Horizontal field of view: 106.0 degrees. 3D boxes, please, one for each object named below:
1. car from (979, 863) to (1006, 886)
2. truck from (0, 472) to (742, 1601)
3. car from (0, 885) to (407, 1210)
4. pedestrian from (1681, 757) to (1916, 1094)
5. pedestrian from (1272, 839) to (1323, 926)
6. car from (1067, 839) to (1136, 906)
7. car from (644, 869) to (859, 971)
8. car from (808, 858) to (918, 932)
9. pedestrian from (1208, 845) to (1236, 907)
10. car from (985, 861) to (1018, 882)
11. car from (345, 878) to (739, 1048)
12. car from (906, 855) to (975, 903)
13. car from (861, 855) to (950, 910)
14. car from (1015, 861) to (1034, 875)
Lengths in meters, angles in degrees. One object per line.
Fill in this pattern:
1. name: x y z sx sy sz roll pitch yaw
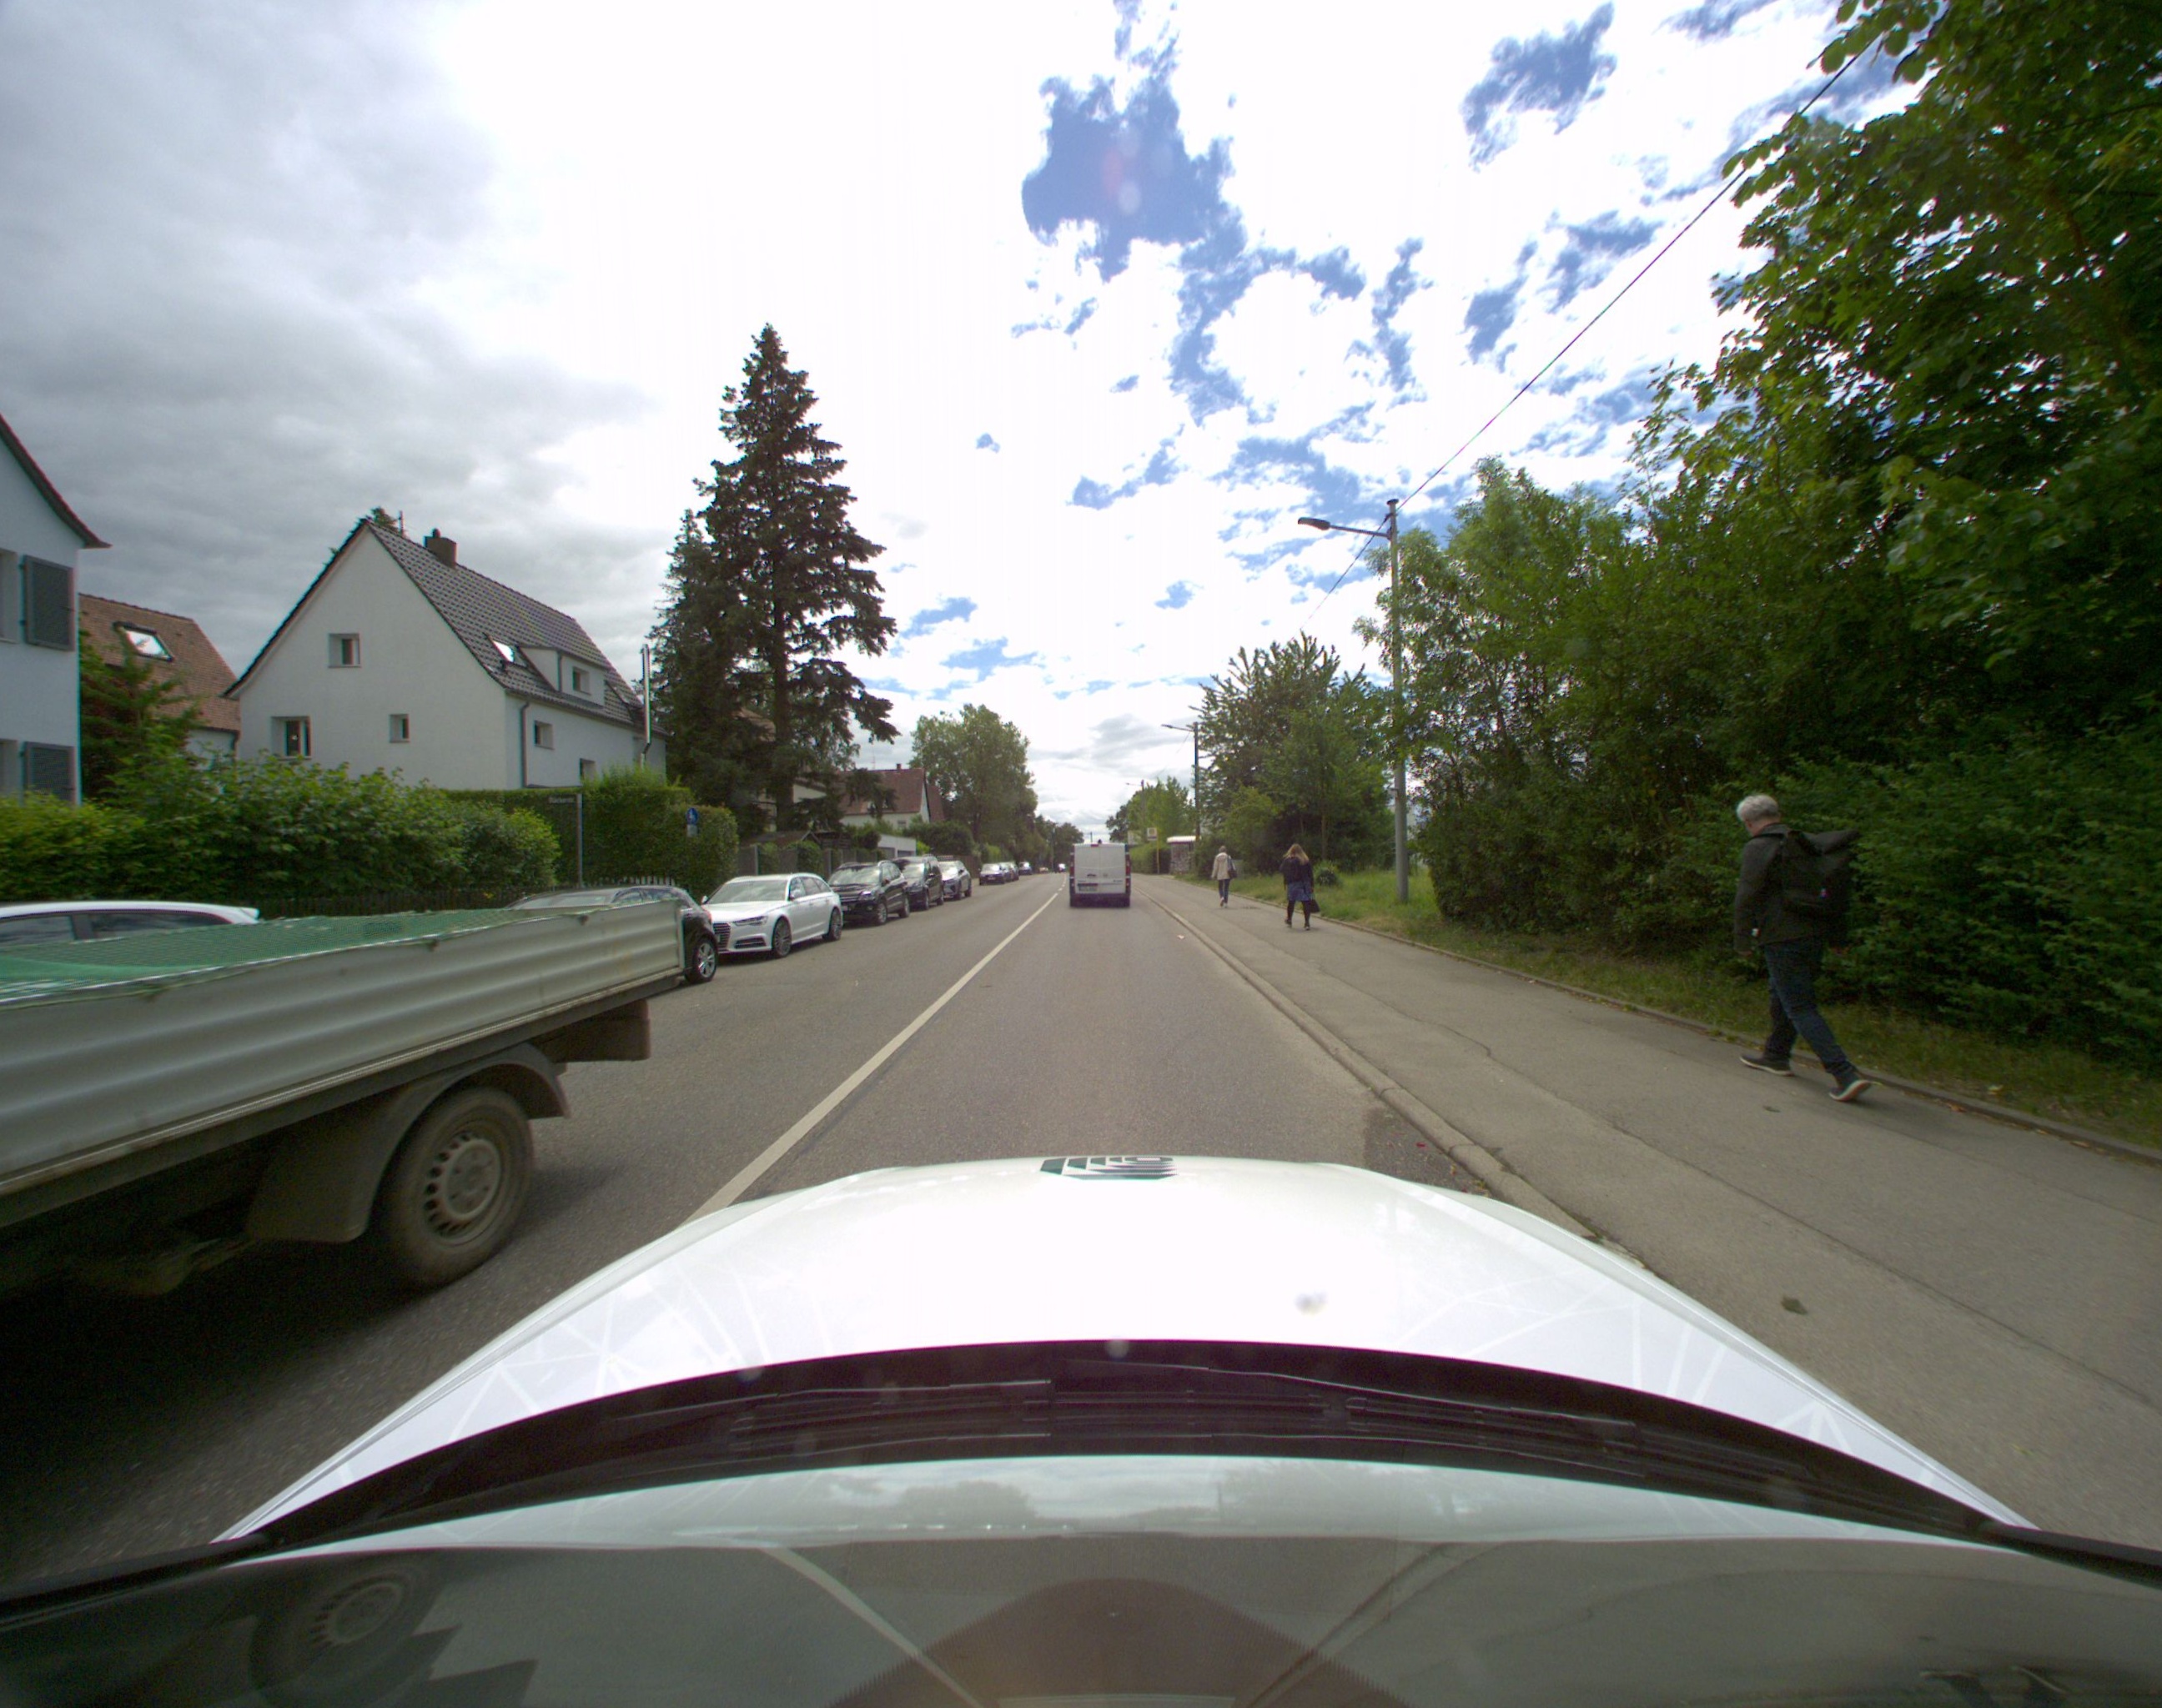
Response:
1. car: -5.966 1.358 55.339 1.648 1.427 3.899 -3 0 -4
2. truck: -3.382 0.414 1.592 2.180 2.371 6.908 -3 0 2
3. car: -6.311 1.071 4.590 1.695 1.543 3.745 -3 0 3
4. pedestrian: 4.337 0.402 4.996 0.741 1.883 0.803 0 -1 7
5. pedestrian: 4.205 0.545 15.835 0.835 1.659 0.767 0 -1 5
6. car: 0.569 0.571 26.397 2.028 1.945 4.991 0 -1 -1
7. car: -6.004 1.107 15.665 1.798 1.459 5.072 -3 0 3
8. car: -5.849 1.024 22.400 1.621 1.678 4.584 -4 0 1
9. pedestrian: 3.870 0.598 22.398 0.682 1.659 0.691 0 -1 5
10. car: -5.860 1.299 60.366 1.860 1.459 4.489 -2 -1 1
11. car: -6.119 1.122 10.022 1.735 1.410 4.326 -3 0 3
12. car: -5.826 0.966 34.272 1.978 1.819 4.707 -2 0 0
13. car: -6.003 0.935 28.431 2.060 1.754 4.882 0 -1 0
14. car: -7.299 1.809 104.569 2.131 1.773 4.452 0 -1 -8
